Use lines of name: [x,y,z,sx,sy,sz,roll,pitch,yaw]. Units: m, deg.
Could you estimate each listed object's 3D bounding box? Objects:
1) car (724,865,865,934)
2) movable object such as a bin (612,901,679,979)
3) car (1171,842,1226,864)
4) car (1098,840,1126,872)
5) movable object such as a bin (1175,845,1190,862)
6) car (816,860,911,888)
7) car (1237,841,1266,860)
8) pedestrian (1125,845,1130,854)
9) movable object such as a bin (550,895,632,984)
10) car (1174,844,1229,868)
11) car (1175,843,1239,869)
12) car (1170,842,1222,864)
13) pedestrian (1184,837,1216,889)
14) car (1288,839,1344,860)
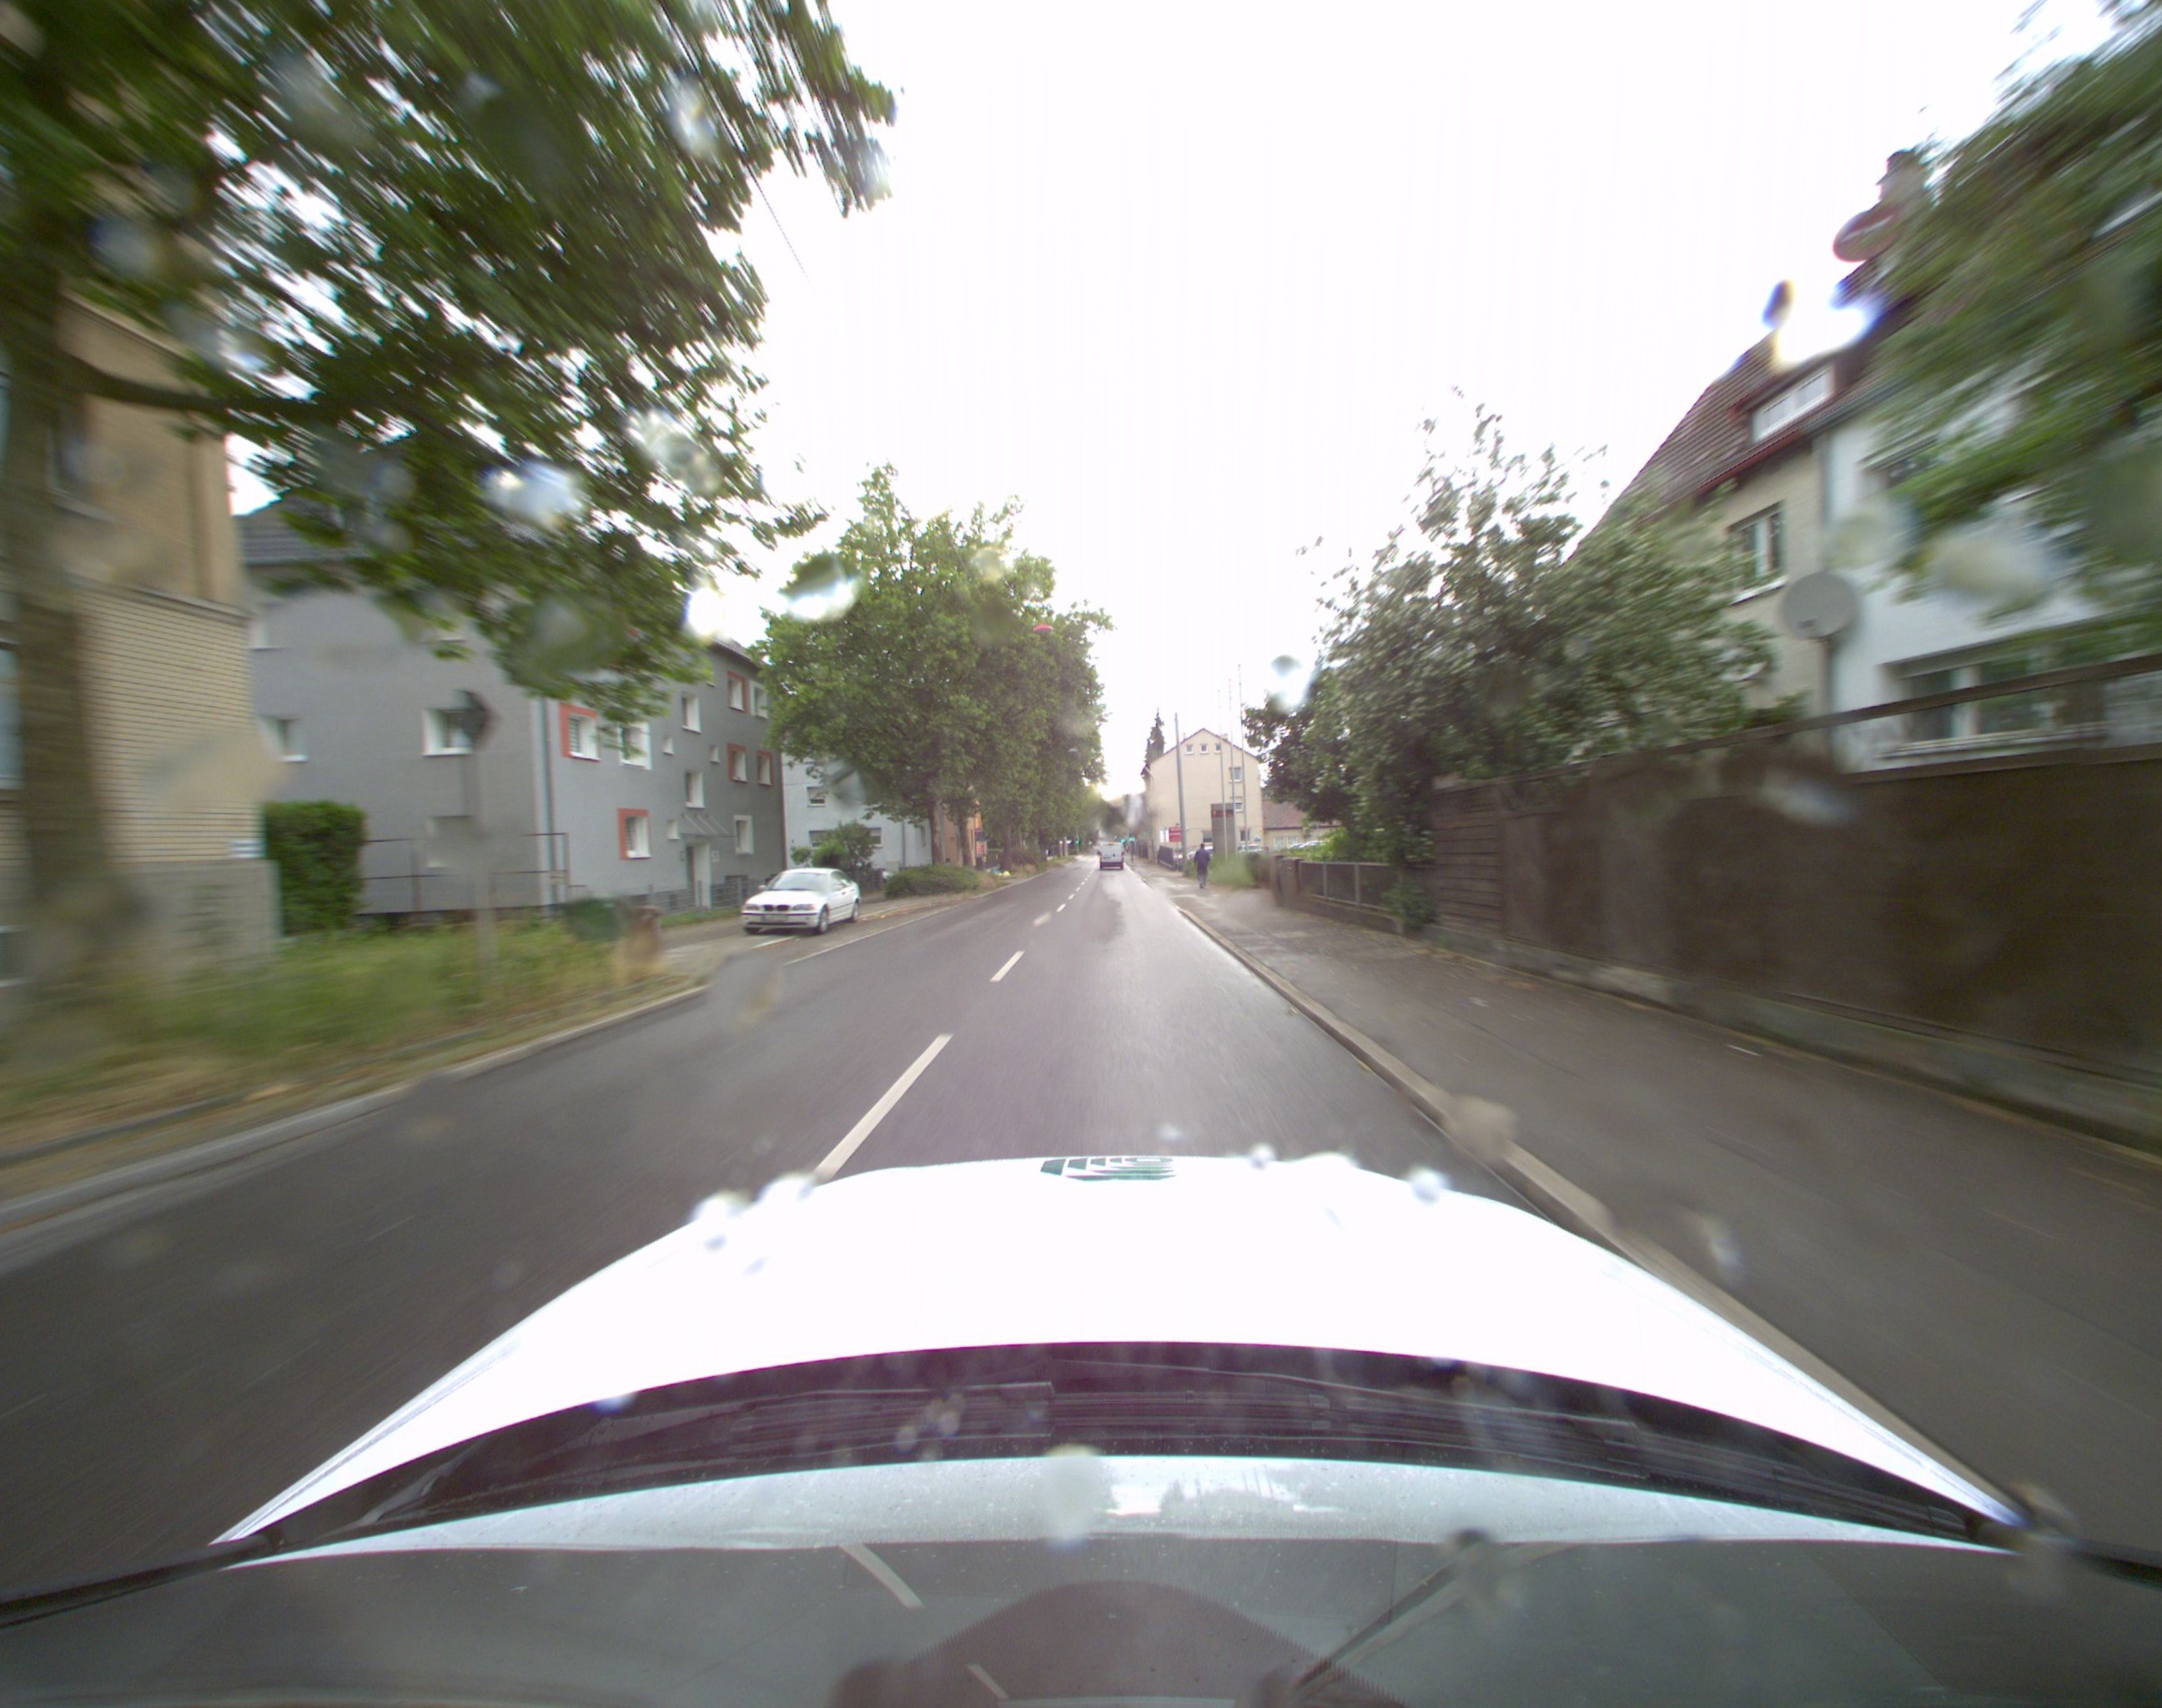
car: [-6.499,0.962,19.040,1.750,1.326,4.536,-1,0,-1]
movable object such as a bin: [-5.692,1.111,10.667,0.510,0.927,0.581,-3,-1,1]
car: [9.562,-0.069,66.346,4.212,1.736,1.870,-1,-1,1]
car: [2.659,0.205,69.852,2.274,2.553,4.002,-2,-1,2]
movable object such as a bin: [9.580,-0.062,77.147,1.229,1.509,1.111,-4,-1,1]
car: [-11.787,1.084,44.346,4.645,1.477,1.870,-1,-1,1]
car: [14.212,-0.268,68.034,1.801,1.530,3.628,-1,-1,1]
pedestrian: [8.773,-0.903,153.825,0.741,1.704,0.900,-1,-1,-4]
movable object such as a bin: [-6.312,1.085,10.526,0.532,1.057,0.762,-3,-1,2]
car: [9.013,0.165,61.090,3.934,1.724,1.792,-1,0,1]
car: [9.003,0.179,58.563,4.286,1.768,2.001,-1,-1,1]
car: [9.703,-0.058,68.903,4.212,1.736,1.870,-1,-1,1]
pedestrian: [4.491,0.331,30.814,1.039,1.897,0.901,-2,-1,2]
car: [19.204,-0.340,66.572,4.071,1.600,1.794,-1,-1,0]
